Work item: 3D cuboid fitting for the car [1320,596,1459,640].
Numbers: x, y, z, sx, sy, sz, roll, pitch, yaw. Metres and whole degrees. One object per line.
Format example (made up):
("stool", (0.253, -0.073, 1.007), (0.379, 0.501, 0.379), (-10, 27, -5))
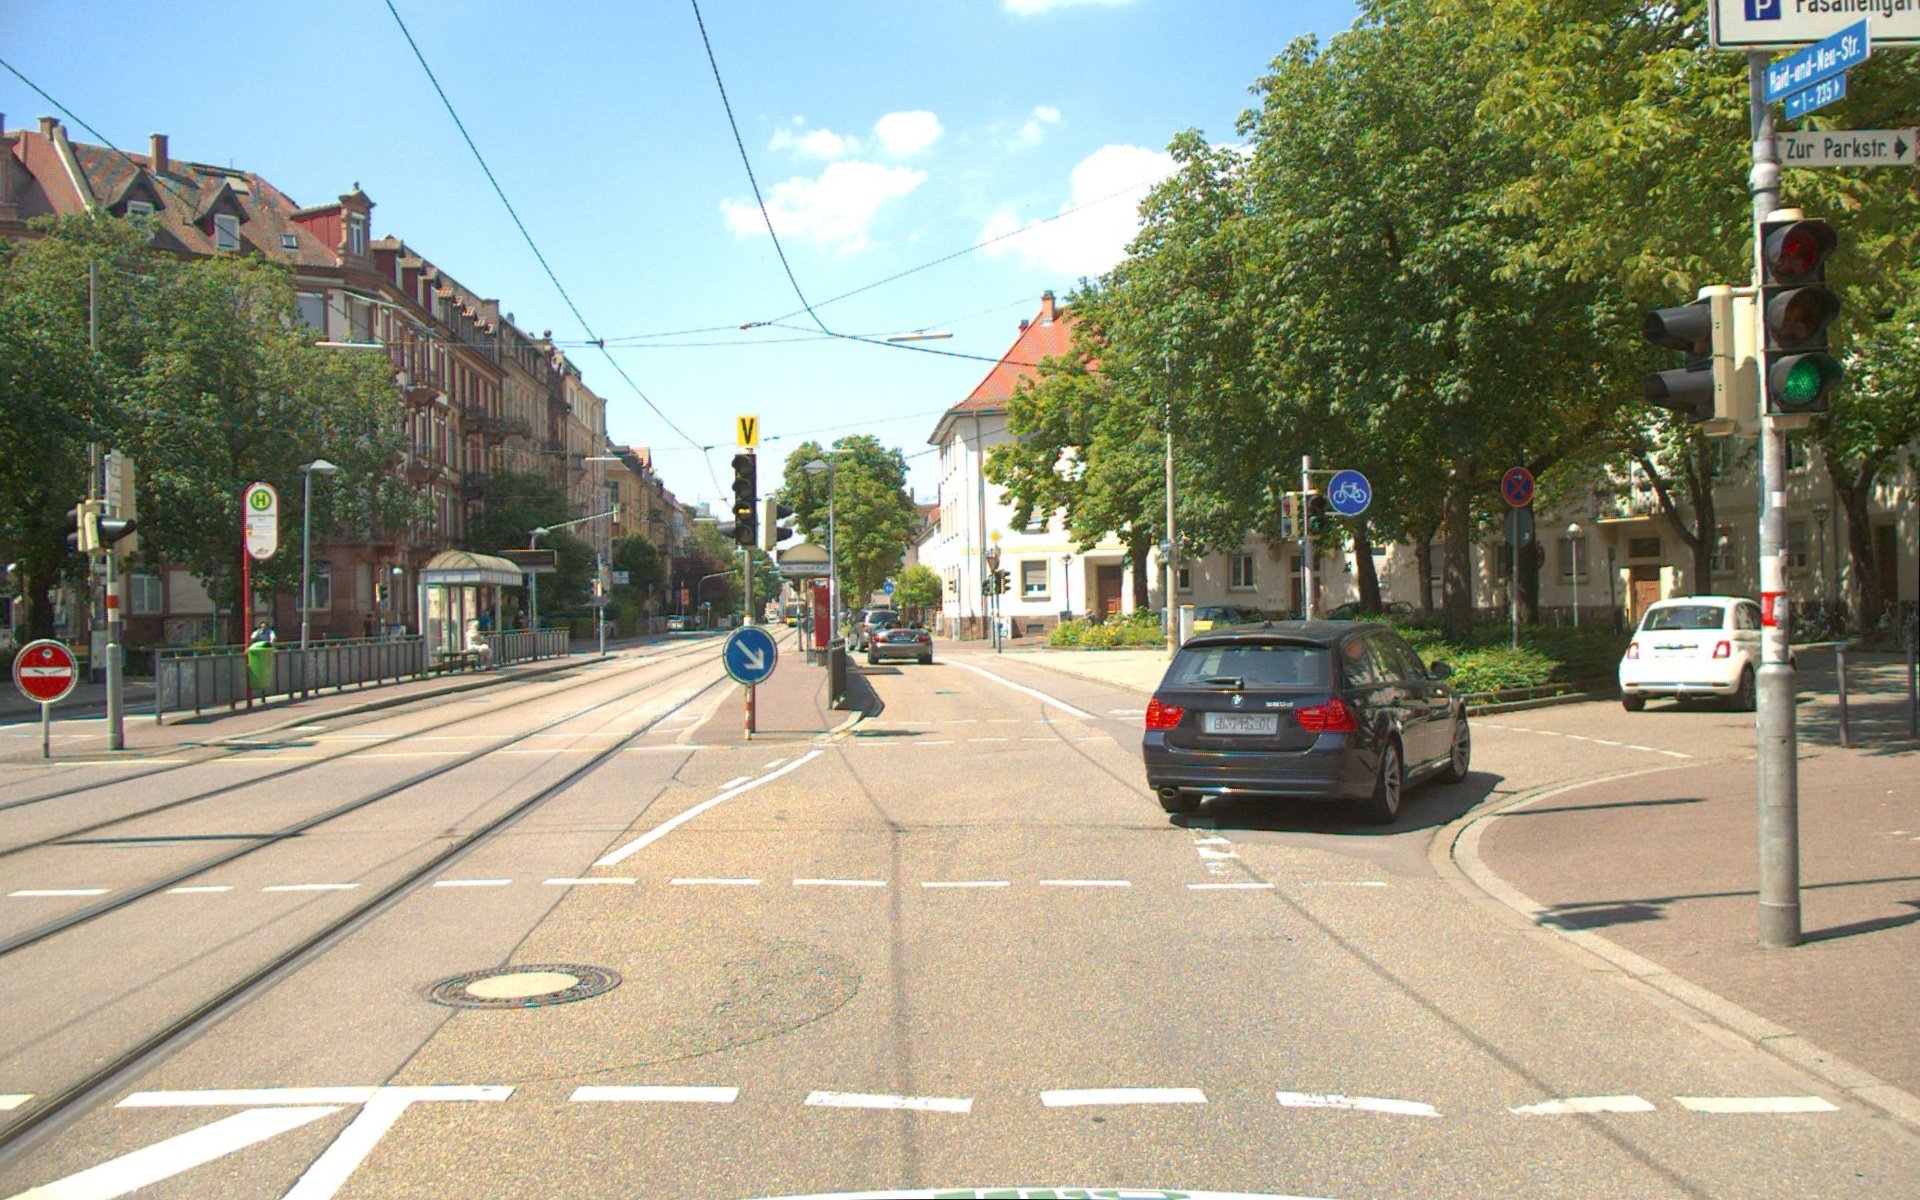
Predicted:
("car", (14.100, 0.601, 54.465), (1.773, 1.351, 4.282), (-1, 0, -37))

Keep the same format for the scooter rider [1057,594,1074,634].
("scooter rider", (4.569, 0.593, 71.723), (0.580, 1.716, 0.527), (-1, -1, -10))

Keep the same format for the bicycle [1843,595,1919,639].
("bicycle", (23.932, 0.427, 42.567), (2.165, 1.077, 0.557), (-1, 0, -4))

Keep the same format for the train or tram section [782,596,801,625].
("train or tram section", (-21.003, 1.274, 206.406), (2.148, 3.543, 8.835), (-1, 0, -5))

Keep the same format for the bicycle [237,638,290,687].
("bicycle", (-16.837, 1.490, 40.019), (0.715, 1.121, 1.713), (-1, 0, -6))

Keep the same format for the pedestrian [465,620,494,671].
("pedestrian", (-12.148, 1.153, 41.830), (0.603, 1.264, 0.626), (-1, -1, -11))

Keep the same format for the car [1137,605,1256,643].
("car", (8.514, 0.867, 59.687), (3.913, 1.265, 1.620), (-1, 0, 30))

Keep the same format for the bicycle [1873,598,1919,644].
("bicycle", (23.736, 0.500, 40.794), (2.167, 1.077, 0.653), (-1, 0, -8))

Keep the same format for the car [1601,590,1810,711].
("car", (10.422, 0.653, 23.006), (1.660, 1.510, 3.664), (-2, 0, 41))

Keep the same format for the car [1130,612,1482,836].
("car", (2.950, 0.839, 13.244), (1.689, 1.434, 4.560), (1, 0, 26))

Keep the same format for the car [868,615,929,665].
("car", (-1.825, 1.137, 48.247), (1.658, 1.346, 3.818), (-1, 0, -4))

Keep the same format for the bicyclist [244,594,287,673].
("bicyclist", (-16.865, 0.809, 40.192), (0.708, 1.903, 0.825), (-1, 0, -4))

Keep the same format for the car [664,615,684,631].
("car", (-28.576, 2.278, 165.373), (1.757, 1.614, 3.986), (0, -1, -13))

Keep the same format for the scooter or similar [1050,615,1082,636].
("scooter or similar", (4.590, 1.110, 71.714), (1.288, 0.852, 0.525), (-1, -1, -11))

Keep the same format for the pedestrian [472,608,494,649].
("pedestrian", (-21.723, 1.284, 75.369), (0.626, 1.843, 0.740), (-1, -1, 23))

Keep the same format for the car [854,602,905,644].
("car", (-3.189, 0.881, 64.663), (1.659, 1.540, 3.814), (-1, 0, -8))
